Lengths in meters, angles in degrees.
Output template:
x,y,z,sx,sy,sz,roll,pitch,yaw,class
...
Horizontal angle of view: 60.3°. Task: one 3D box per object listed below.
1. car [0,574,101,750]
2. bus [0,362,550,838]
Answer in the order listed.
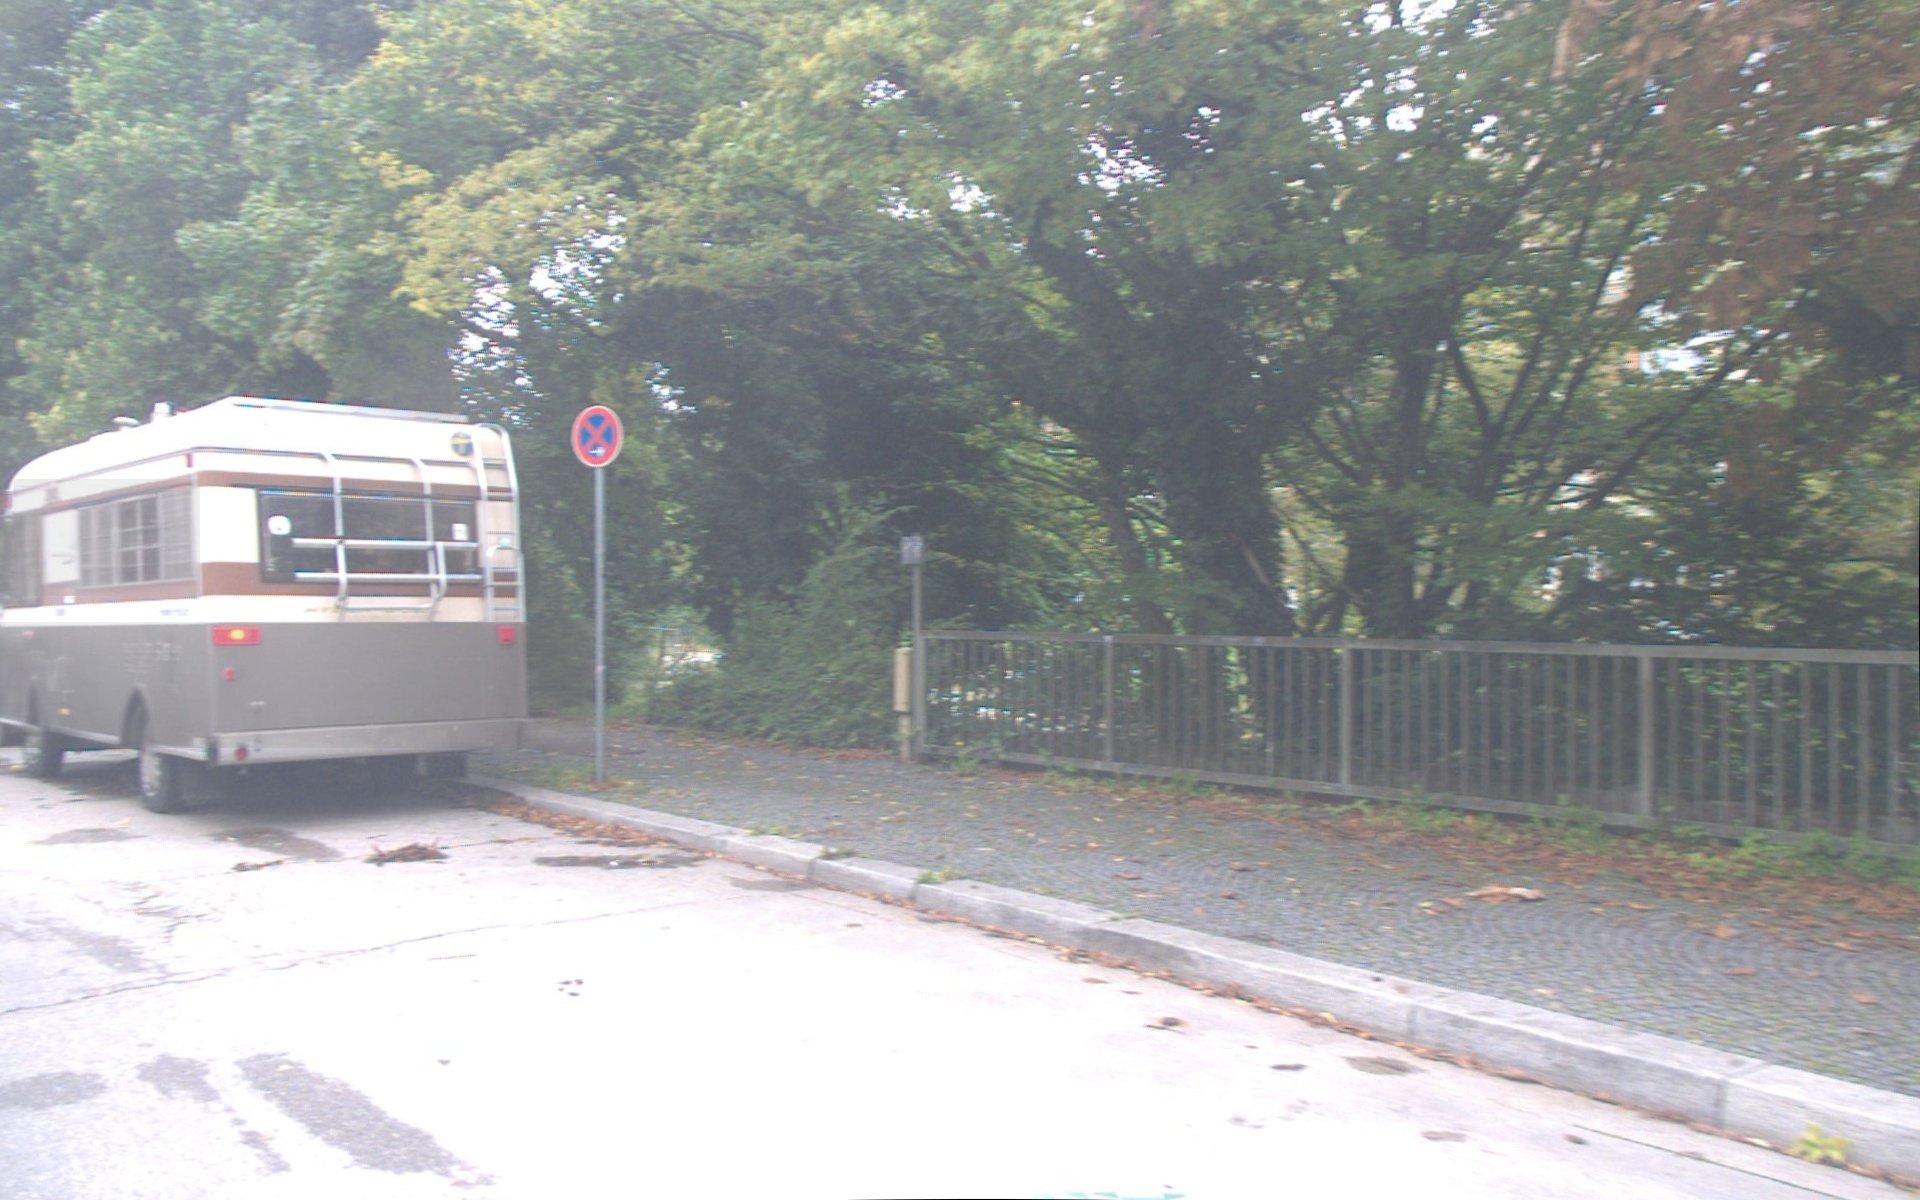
x,y,z,sx,sy,sz,roll,pitch,yaw,class
-10.763,0.586,17.121,4.376,1.678,1.773,0,0,40,car
-5.526,-0.004,12.424,2.304,2.746,5.642,0,0,-43,bus
